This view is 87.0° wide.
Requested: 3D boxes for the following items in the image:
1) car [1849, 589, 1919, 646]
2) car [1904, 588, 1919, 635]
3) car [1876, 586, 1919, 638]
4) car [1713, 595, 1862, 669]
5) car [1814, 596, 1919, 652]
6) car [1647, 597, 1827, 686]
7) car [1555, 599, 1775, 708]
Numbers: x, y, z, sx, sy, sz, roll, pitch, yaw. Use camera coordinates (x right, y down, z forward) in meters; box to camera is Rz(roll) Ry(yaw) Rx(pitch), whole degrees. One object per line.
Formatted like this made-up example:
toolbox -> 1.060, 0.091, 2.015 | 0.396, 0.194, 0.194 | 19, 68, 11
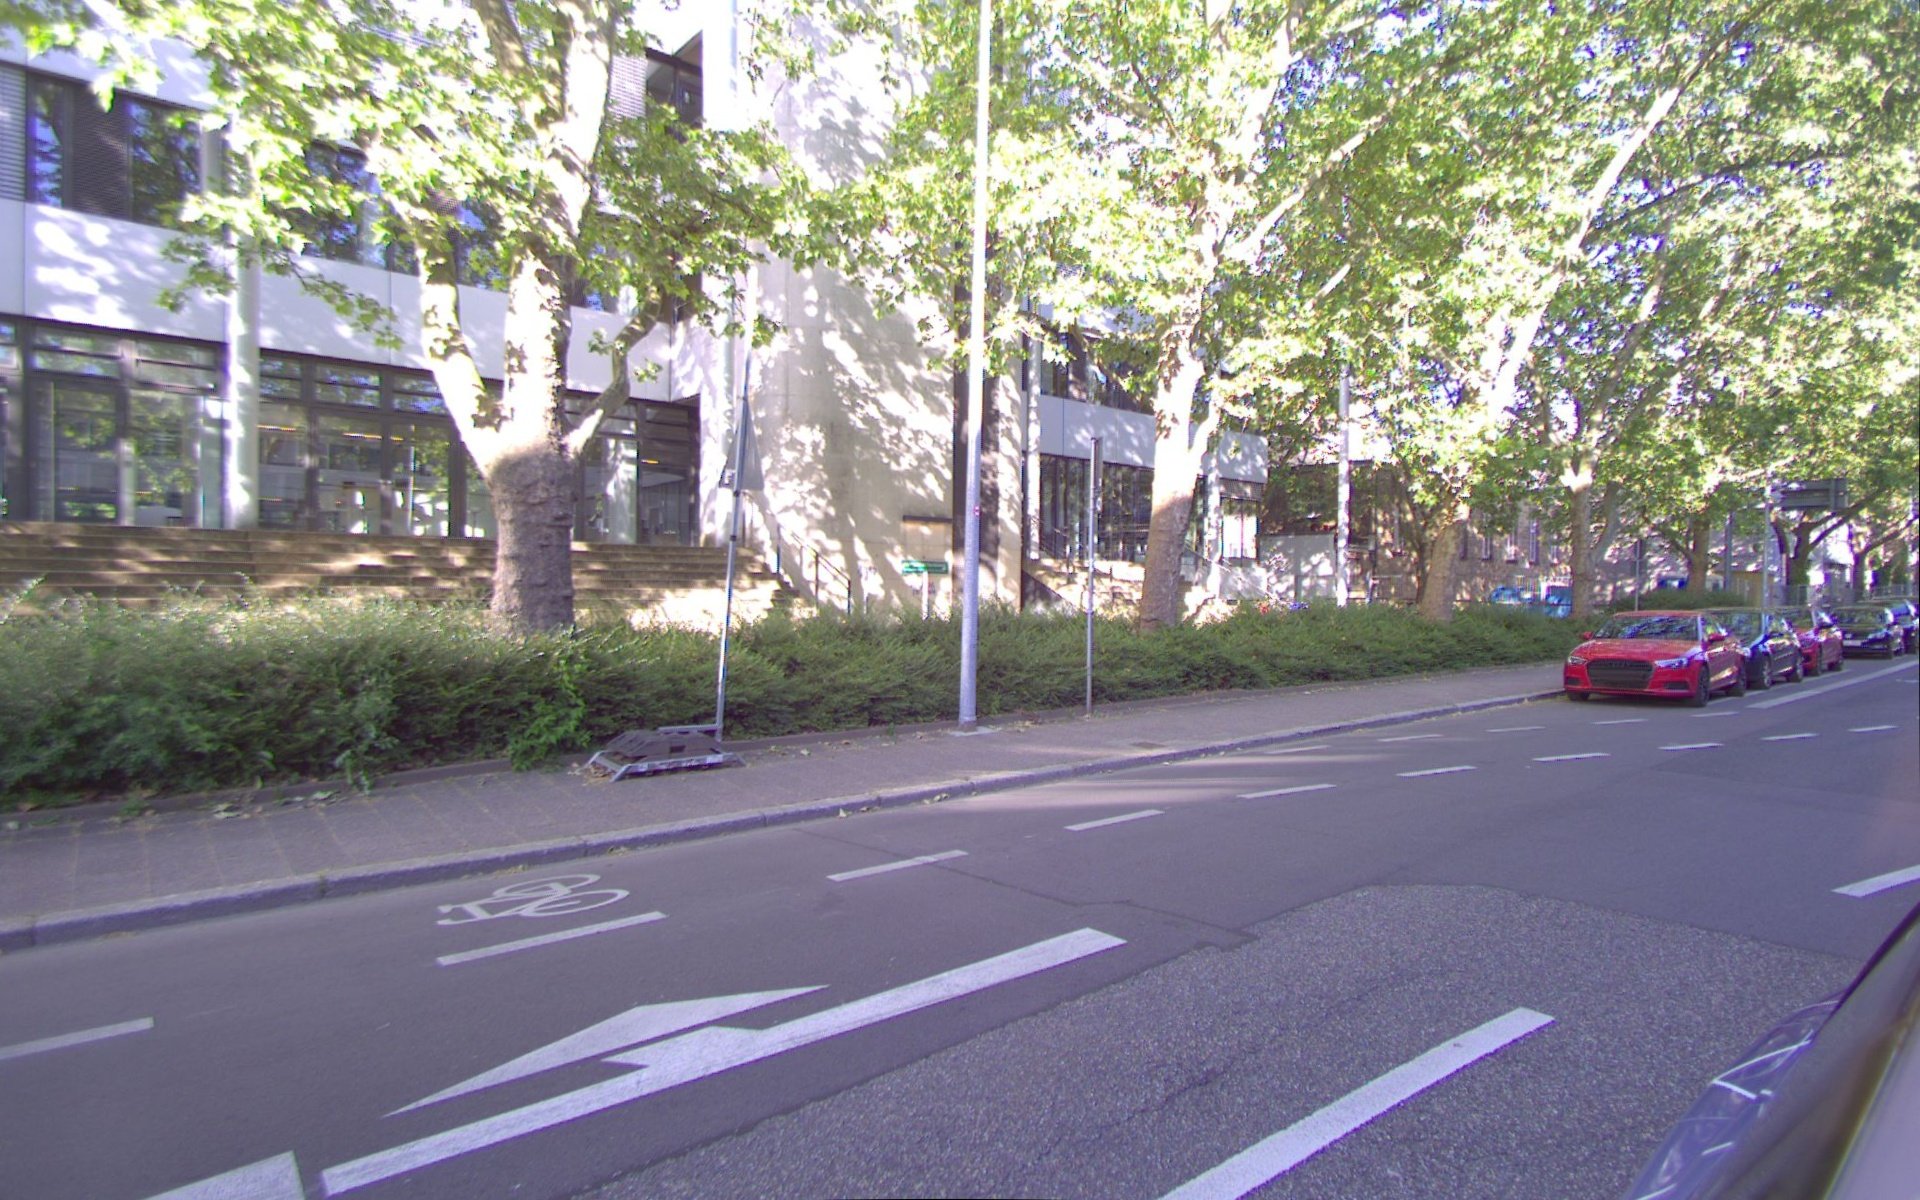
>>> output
car -> 29.573, 0.514, 31.810 | 4.403, 1.689, 1.865 | 0, 0, -41
car -> 38.876, 0.443, 39.970 | 4.403, 1.781, 1.865 | 0, 0, -41
car -> 33.910, 0.395, 35.700 | 4.403, 1.781, 1.865 | 0, 0, -41
car -> 18.437, 0.638, 22.481 | 4.403, 1.469, 1.865 | 0, 0, -41
car -> 25.793, 0.622, 28.615 | 4.403, 1.469, 1.865 | 0, 0, -41
car -> 14.769, 0.693, 19.143 | 4.403, 1.469, 1.865 | 0, 0, -41
car -> 11.322, 0.740, 16.142 | 4.403, 1.469, 1.865 | 0, 0, -41
